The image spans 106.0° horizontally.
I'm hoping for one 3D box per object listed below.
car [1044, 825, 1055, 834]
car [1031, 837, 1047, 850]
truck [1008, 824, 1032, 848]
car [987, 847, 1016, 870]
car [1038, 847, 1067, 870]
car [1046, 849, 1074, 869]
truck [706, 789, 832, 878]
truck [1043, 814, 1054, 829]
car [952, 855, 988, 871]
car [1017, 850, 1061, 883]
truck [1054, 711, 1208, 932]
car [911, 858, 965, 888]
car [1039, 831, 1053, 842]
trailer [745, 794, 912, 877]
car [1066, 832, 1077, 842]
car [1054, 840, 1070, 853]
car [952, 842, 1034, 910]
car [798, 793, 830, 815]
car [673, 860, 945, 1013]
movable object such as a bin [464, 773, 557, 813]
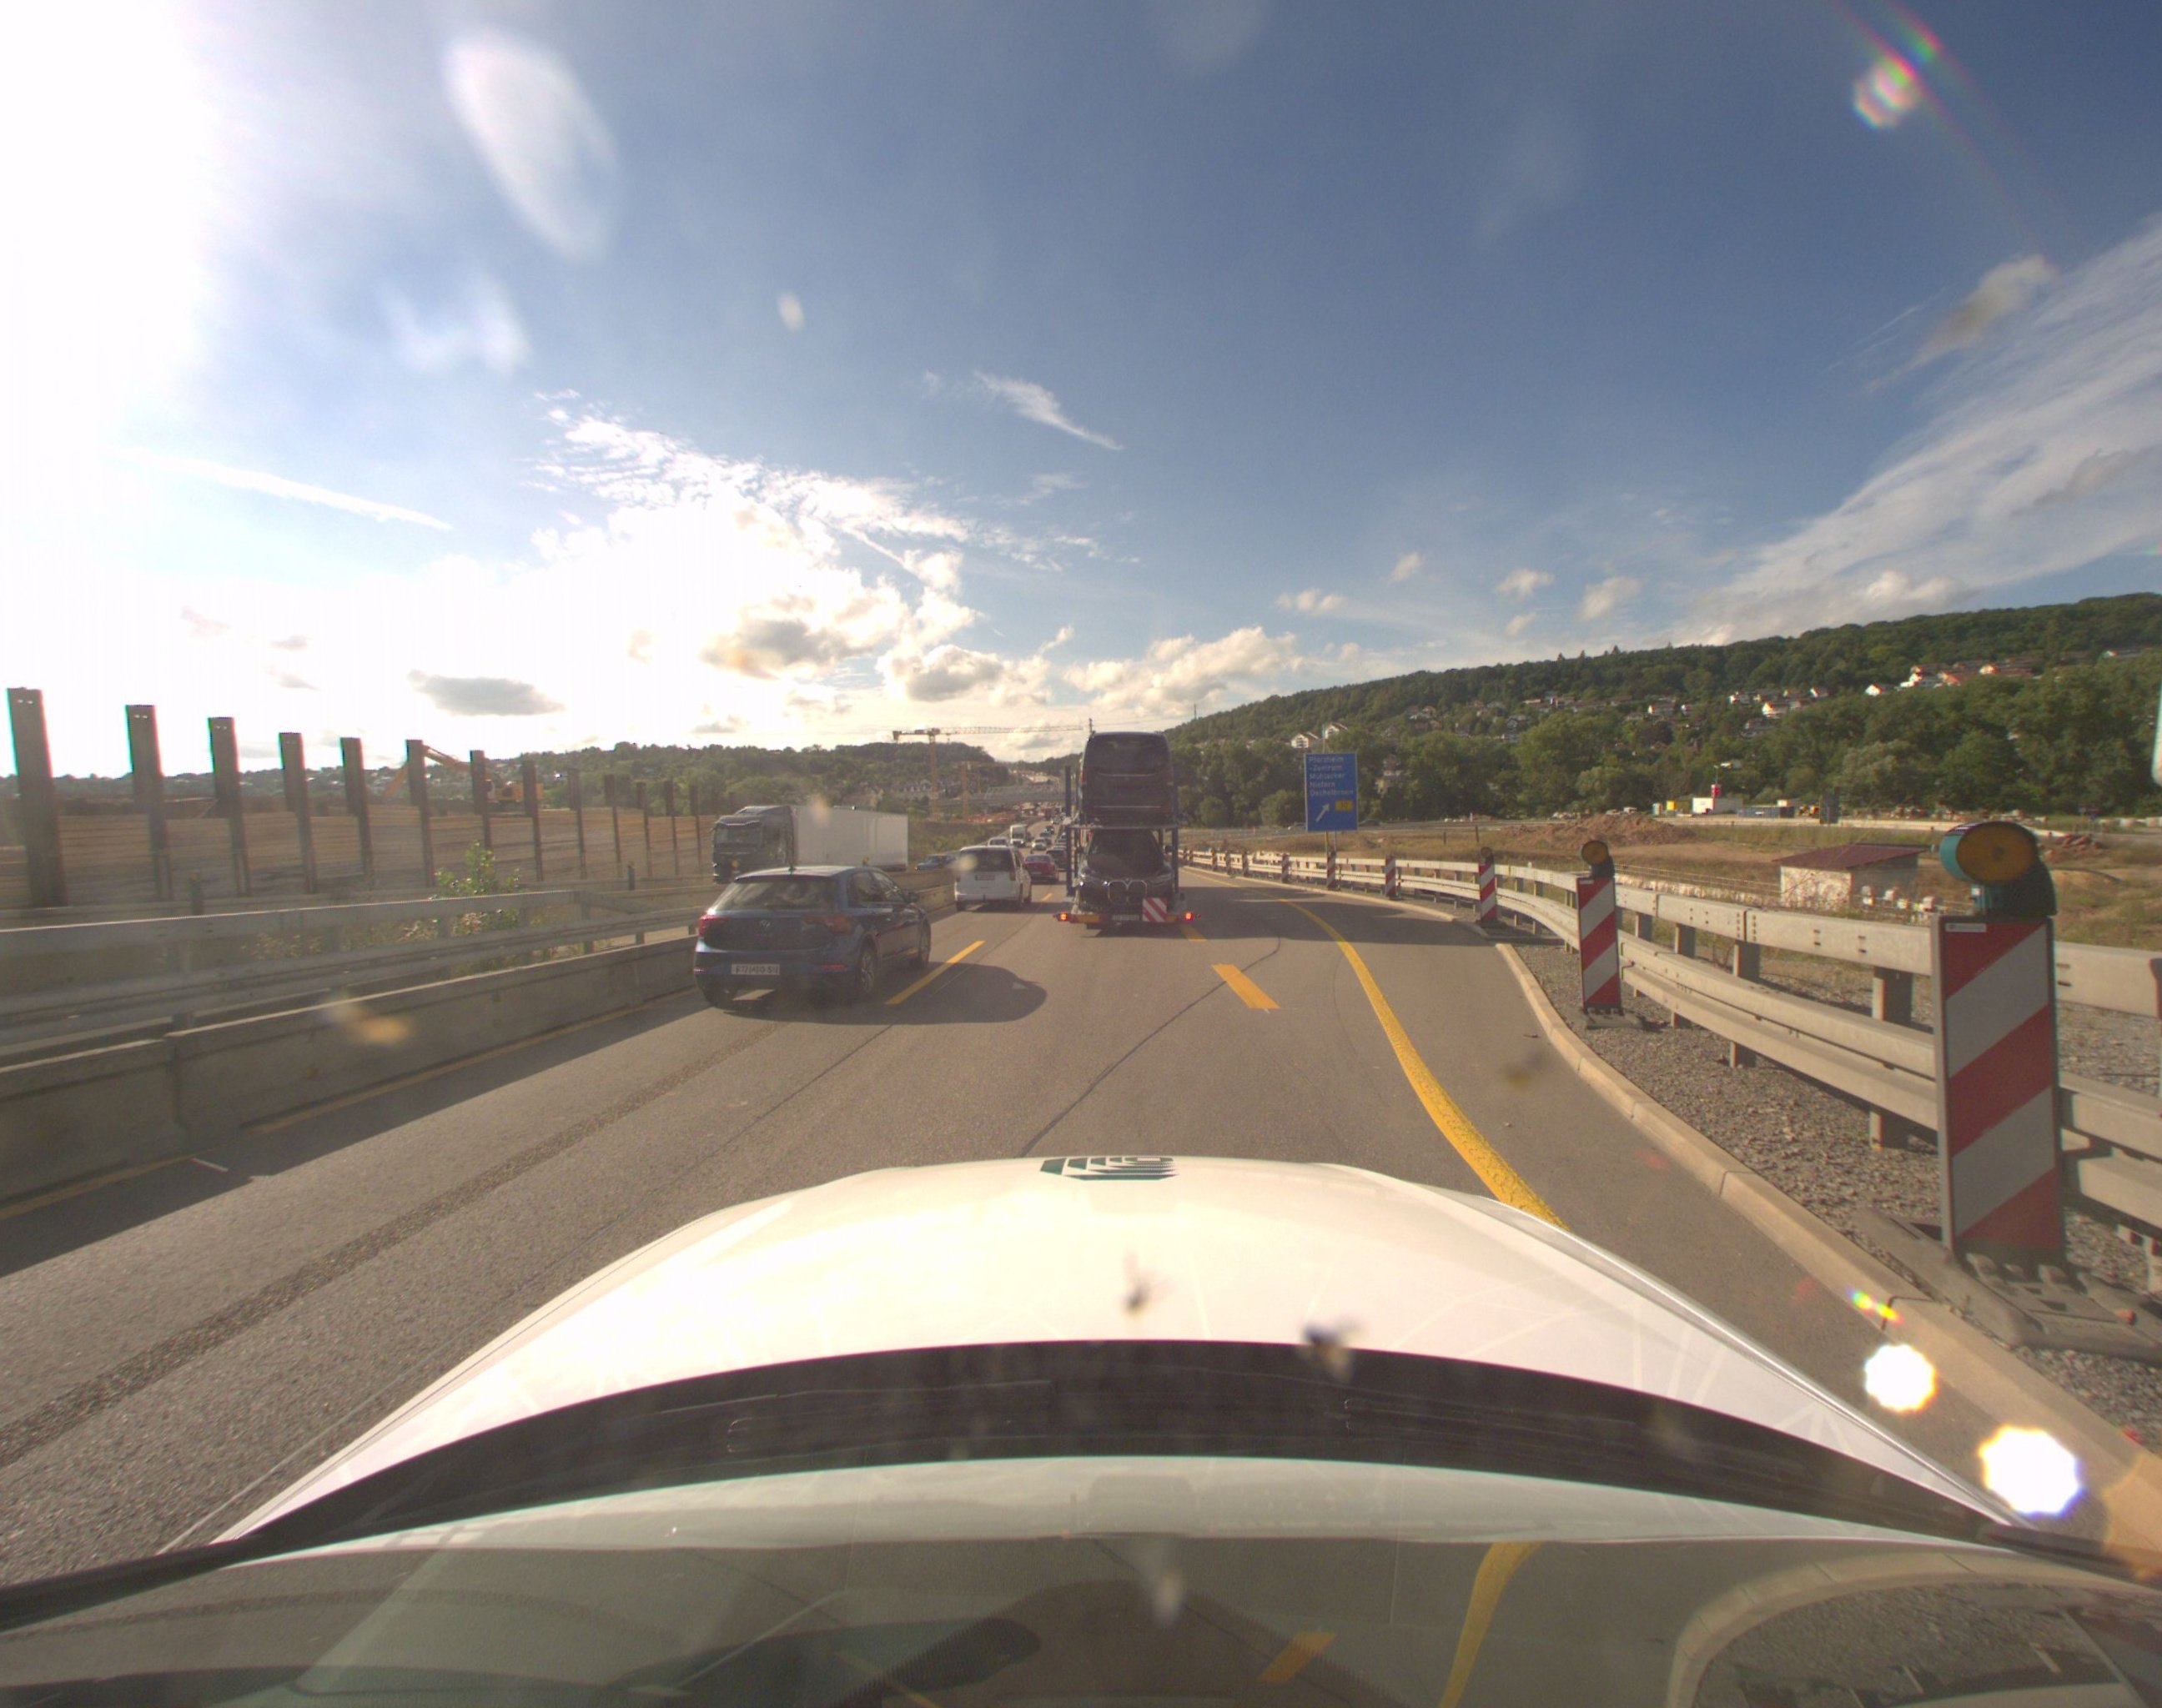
[{"bbox_3d":[-6.353,-4.892,163.111,1.846,1.635,4.750,-2,1,1],"label":"car"},{"bbox_3d":[-5.659,-1.400,110.131,2.120,1.673,4.270,-1,1,-2],"label":"car"},{"bbox_3d":[-9.118,-2.605,121.856,2.690,3.311,7.541,-1,-1,2],"label":"truck"},{"bbox_3d":[-8.622,0.530,88.625,2.248,2.402,5.872,-1,-1,3],"label":"car"},{"bbox_3d":[-2.060,0.334,57.665,1.989,1.552,3.995,-1,-1,-3],"label":"car"},{"bbox_3d":[-1.669,0.406,65.632,1.986,1.552,4.001,-1,-1,2],"label":"car"},{"bbox_3d":[-14.402,-0.835,38.115,2.760,3.788,6.034,-1,-1,9],"label":"truck"},{"bbox_3d":[-9.683,-9.766,244.771,2.910,4.386,6.274,0,1,-6],"label":"truck"},{"bbox_3d":[-9.526,0.750,70.270,1.908,1.273,4.011,-1,-1,10],"label":"car"},{"bbox_3d":[-2.068,0.618,40.989,1.987,1.556,4.399,-1,-1,-1],"label":"car"},{"bbox_3d":[1.059,-0.501,24.034,2.743,3.955,18.890,0,-1,1],"label":"truck"},{"bbox_3d":[-8.678,1.135,49.663,1.982,1.726,4.133,-1,-1,9],"label":"car"},{"bbox_3d":[-5.483,-2.749,128.360,2.120,1.765,5.028,0,1,-2],"label":"car"},{"bbox_3d":[-13.246,-0.823,44.920,2.803,3.841,13.840,-1,-1,10],"label":"trailer"},{"bbox_3d":[-1.750,-3.062,145.888,1.840,1.648,4.501,-1,1,-2],"label":"car"},{"bbox_3d":[-2.518,-0.975,108.154,1.986,1.552,4.001,-1,-1,2],"label":"car"},{"bbox_3d":[-2.478,0.606,23.819,1.816,1.792,4.001,-1,-1,1],"label":"car"},{"bbox_3d":[-32.841,-6.103,100.253,1.988,2.140,5.320,-6,-1,0],"label":"car"},{"bbox_3d":[-2.958,0.830,9.828,1.715,1.422,4.003,-2,-1,3],"label":"car"},{"bbox_3d":[-53.851,-5.675,77.003,5.708,3.270,4.525,-1,-1,12],"label":"movable object such as a bin"}]
